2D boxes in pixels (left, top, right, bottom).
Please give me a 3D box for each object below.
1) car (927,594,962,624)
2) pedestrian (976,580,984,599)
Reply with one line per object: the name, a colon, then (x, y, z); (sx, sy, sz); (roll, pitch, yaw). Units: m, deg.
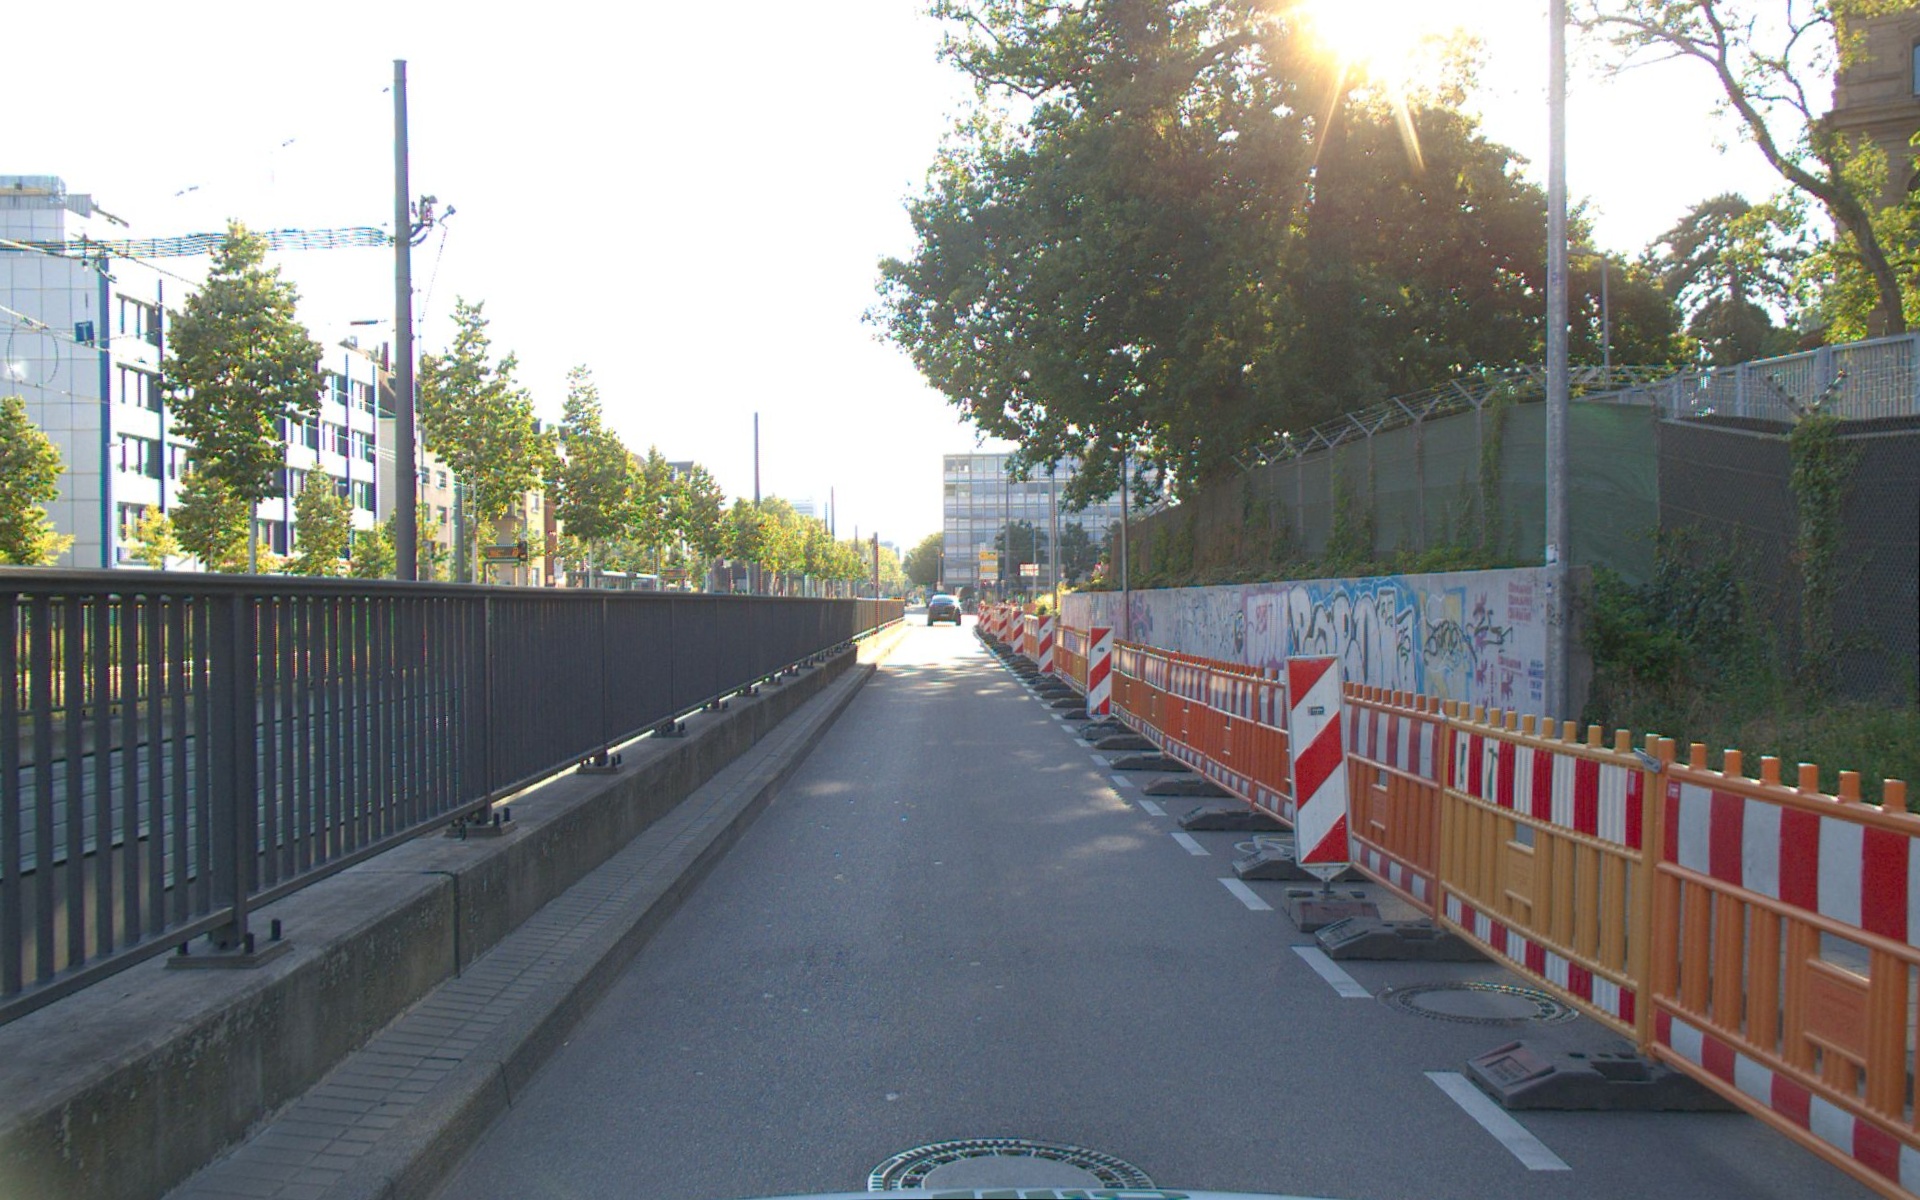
car: (-0.900, 0.538, 97.236); (1.964, 1.688, 4.000); (1, 0, 0)
pedestrian: (2.387, -1.250, 196.419); (0.873, 2.149, 0.718); (0, 1, 4)
